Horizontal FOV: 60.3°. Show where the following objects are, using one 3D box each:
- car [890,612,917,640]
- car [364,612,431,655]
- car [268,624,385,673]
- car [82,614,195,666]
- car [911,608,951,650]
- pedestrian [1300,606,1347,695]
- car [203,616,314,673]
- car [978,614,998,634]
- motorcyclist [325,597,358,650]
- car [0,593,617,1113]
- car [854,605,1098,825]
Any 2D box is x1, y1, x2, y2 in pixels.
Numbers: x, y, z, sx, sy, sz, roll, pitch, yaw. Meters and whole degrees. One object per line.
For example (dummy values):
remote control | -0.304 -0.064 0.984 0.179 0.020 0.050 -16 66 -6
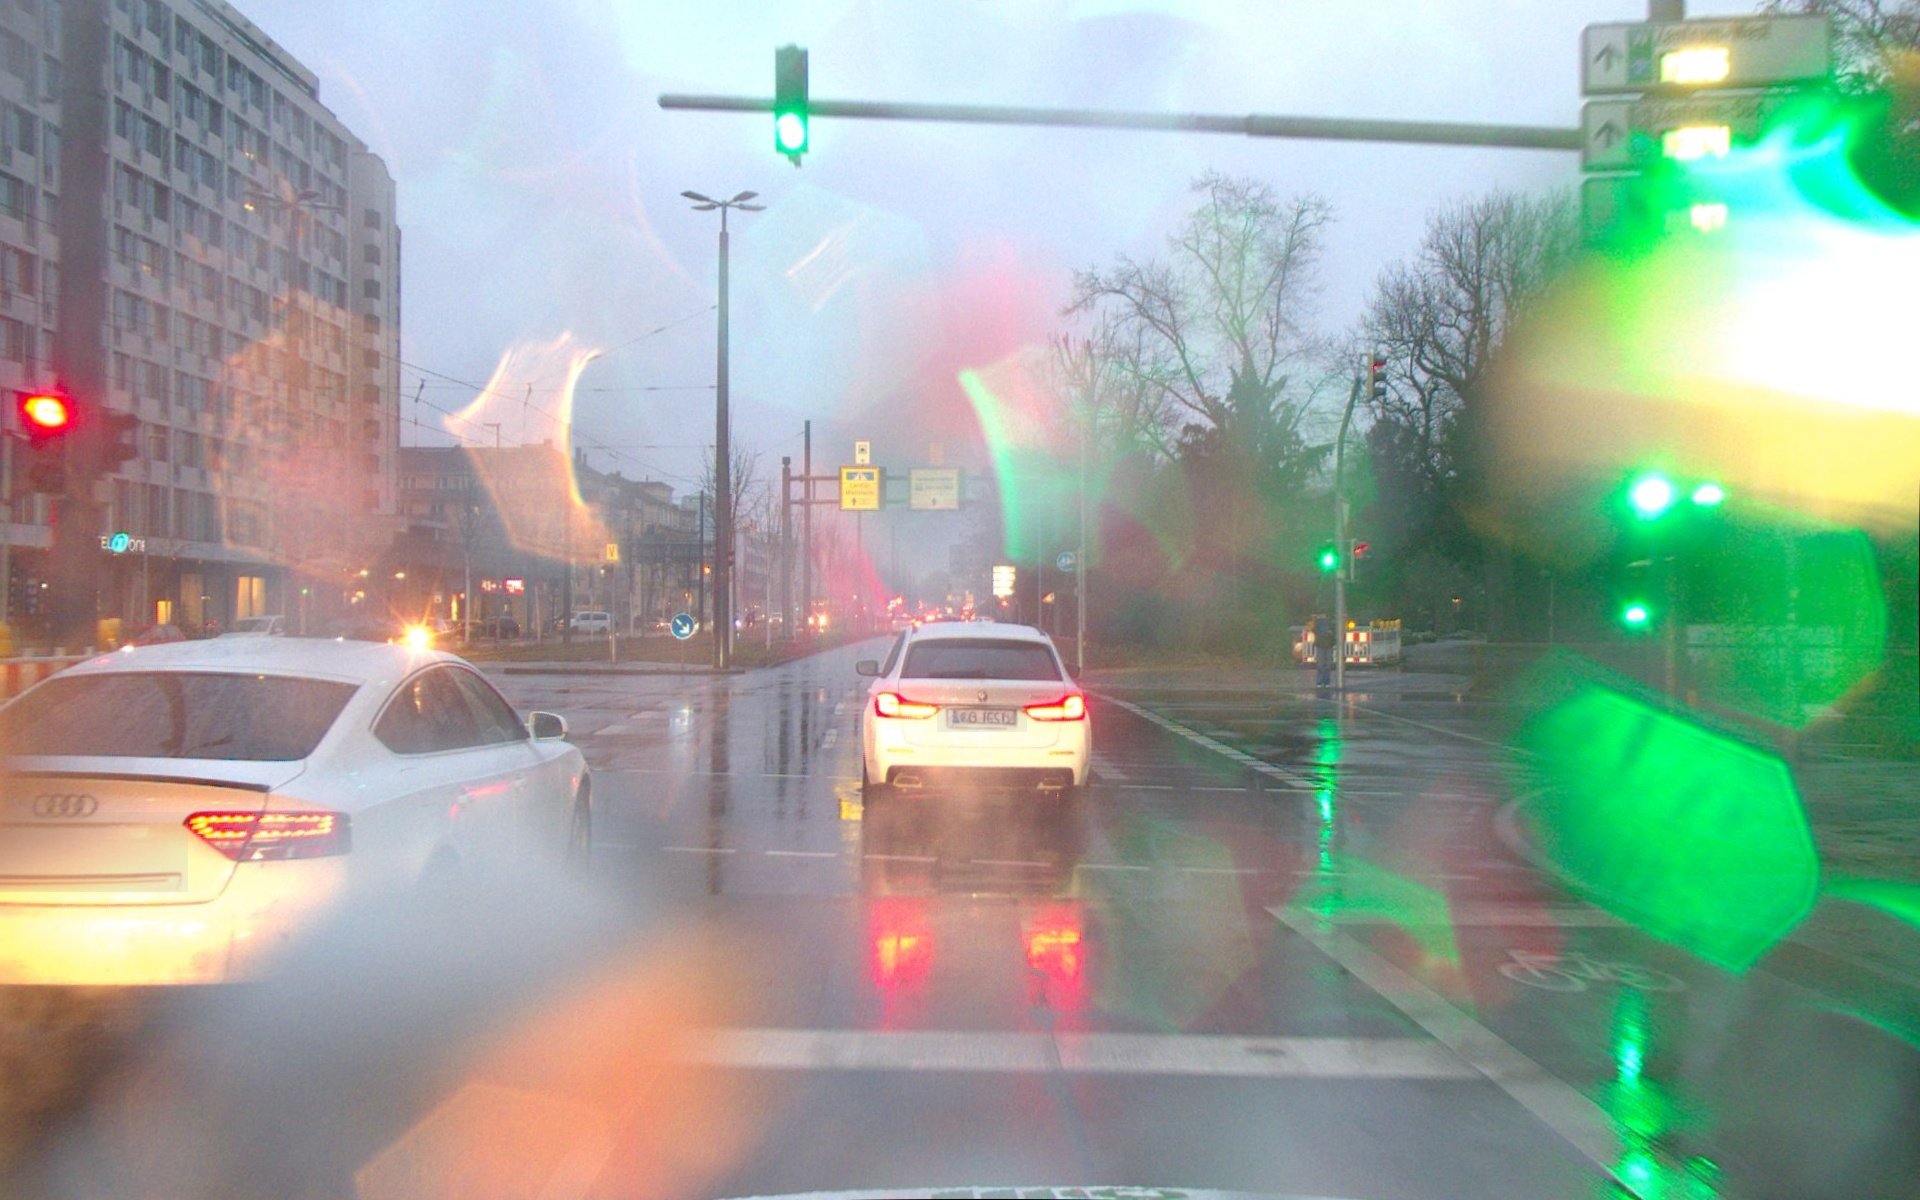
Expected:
car | -4.299 1.966 125.778 1.953 2.049 3.999 1 -1 -1
car | -21.075 1.232 62.117 1.960 1.487 5.074 2 -1 -15
car | -20.989 1.574 55.045 1.953 1.487 5.094 1 -1 -1
car | -27.281 1.311 55.052 1.844 1.601 3.998 1 -1 -3
car | -1.477 1.491 84.405 1.953 2.049 3.999 1 -1 -1
pedestrian | 7.917 1.100 36.005 0.667 1.912 0.706 2 -1 -36
car | -23.991 1.488 56.728 1.843 1.821 4.597 1 -1 -1
car | 2.860 2.467 169.812 1.953 2.049 3.999 1 -1 -1
motorcyclist | -22.633 0.865 60.519 0.854 1.918 1.031 1 -1 -9
car | -2.670 0.763 6.934 1.724 1.495 4.249 1 -1 -3
car | -0.012 0.874 14.260 1.725 1.580 4.247 1 -1 -4
